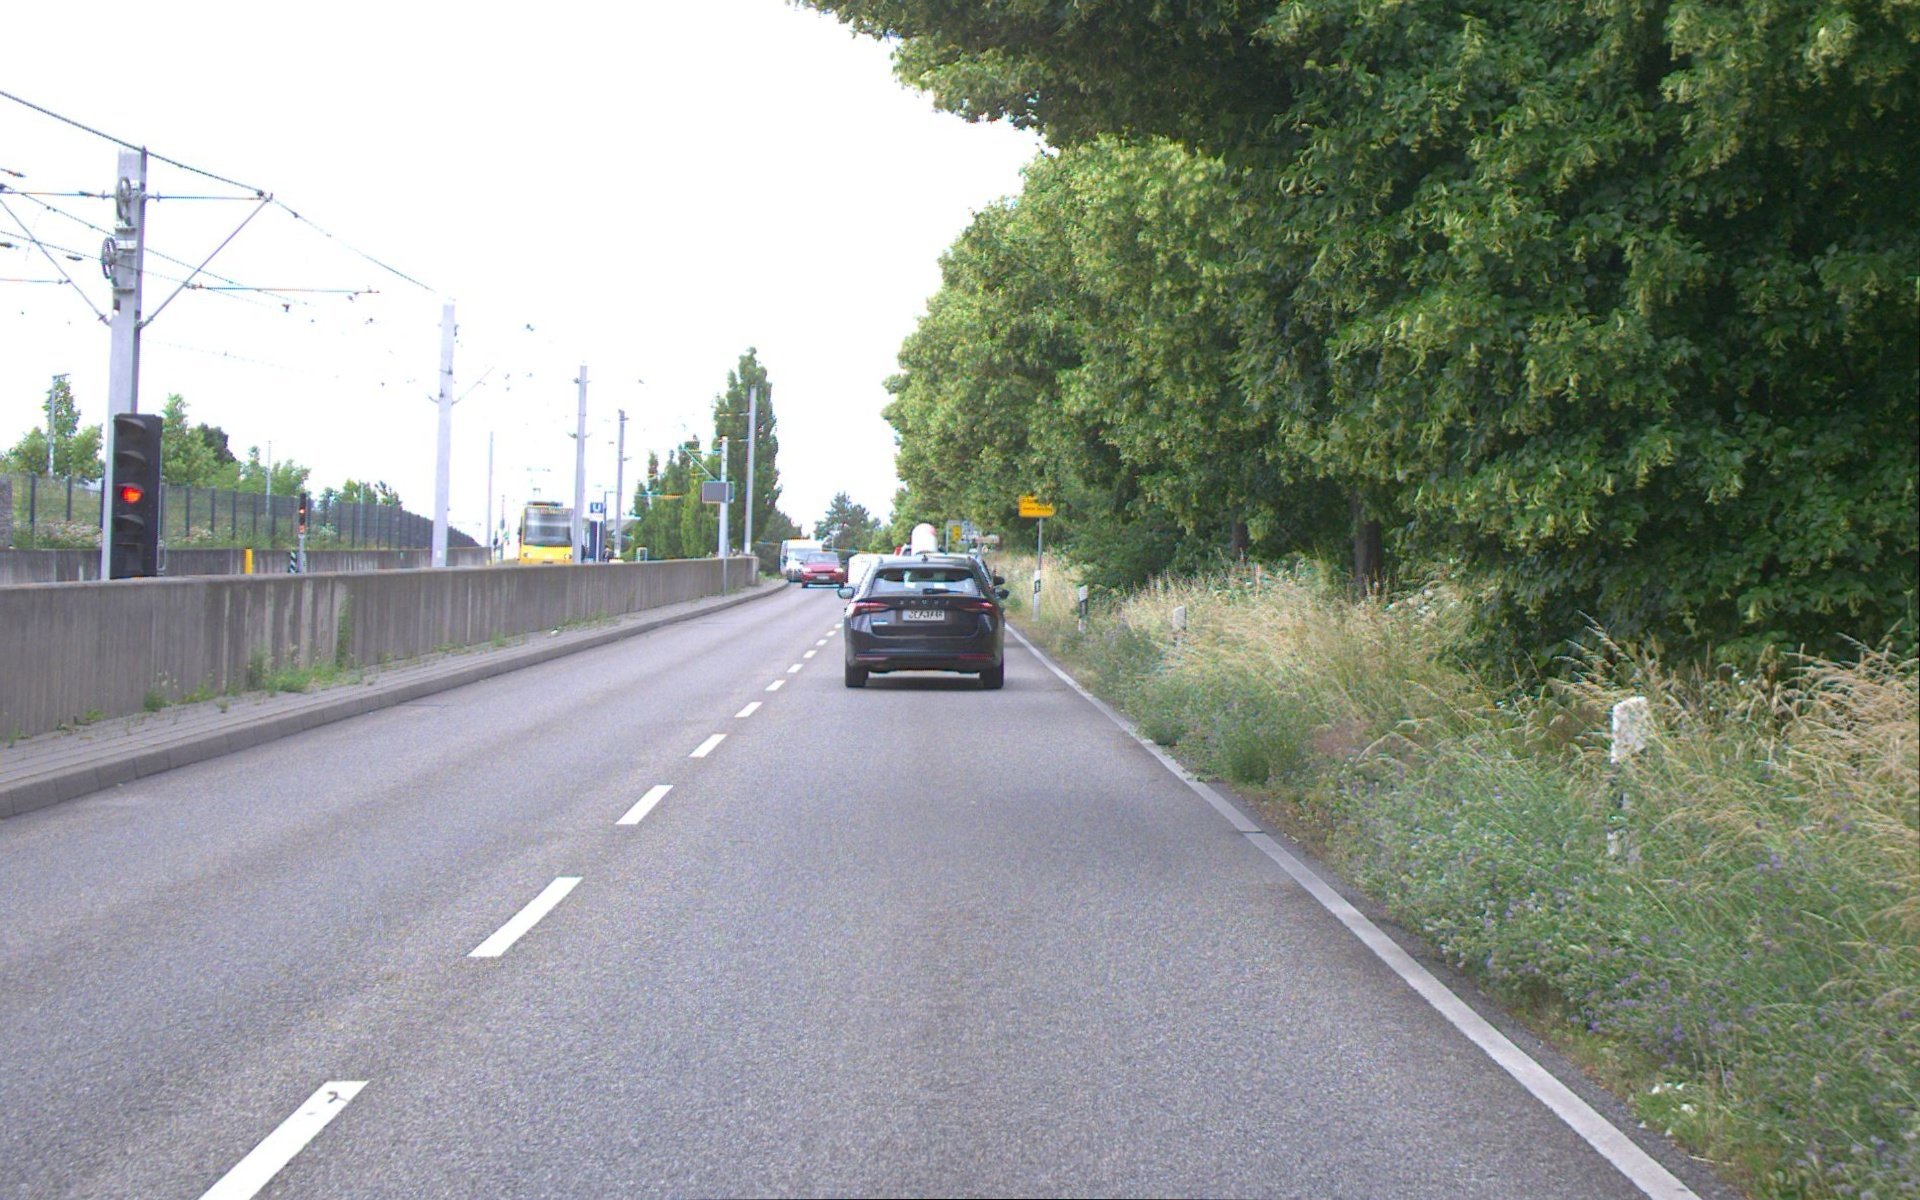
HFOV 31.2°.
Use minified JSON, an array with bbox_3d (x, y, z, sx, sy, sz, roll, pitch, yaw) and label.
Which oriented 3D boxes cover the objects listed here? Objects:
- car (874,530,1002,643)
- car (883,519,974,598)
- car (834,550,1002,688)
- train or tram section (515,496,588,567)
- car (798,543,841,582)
[{"bbox_3d":[-0.368,-0.242,56.008,1.993,1.747,4.000,0,1,-1],"label":"car"},{"bbox_3d":[-0.712,-0.926,78.044,1.993,1.734,4.000,0,0,-1],"label":"car"},{"bbox_3d":[-0.471,0.186,38.762,1.781,1.463,4.000,0,1,-1],"label":"car"},{"bbox_3d":[-19.998,-3.224,167.328,2.811,3.106,18.920,0,0,-9],"label":"train or tram section"},{"bbox_3d":[-5.636,-1.534,138.413,1.662,1.540,3.953,0,1,-1],"label":"car"}]
